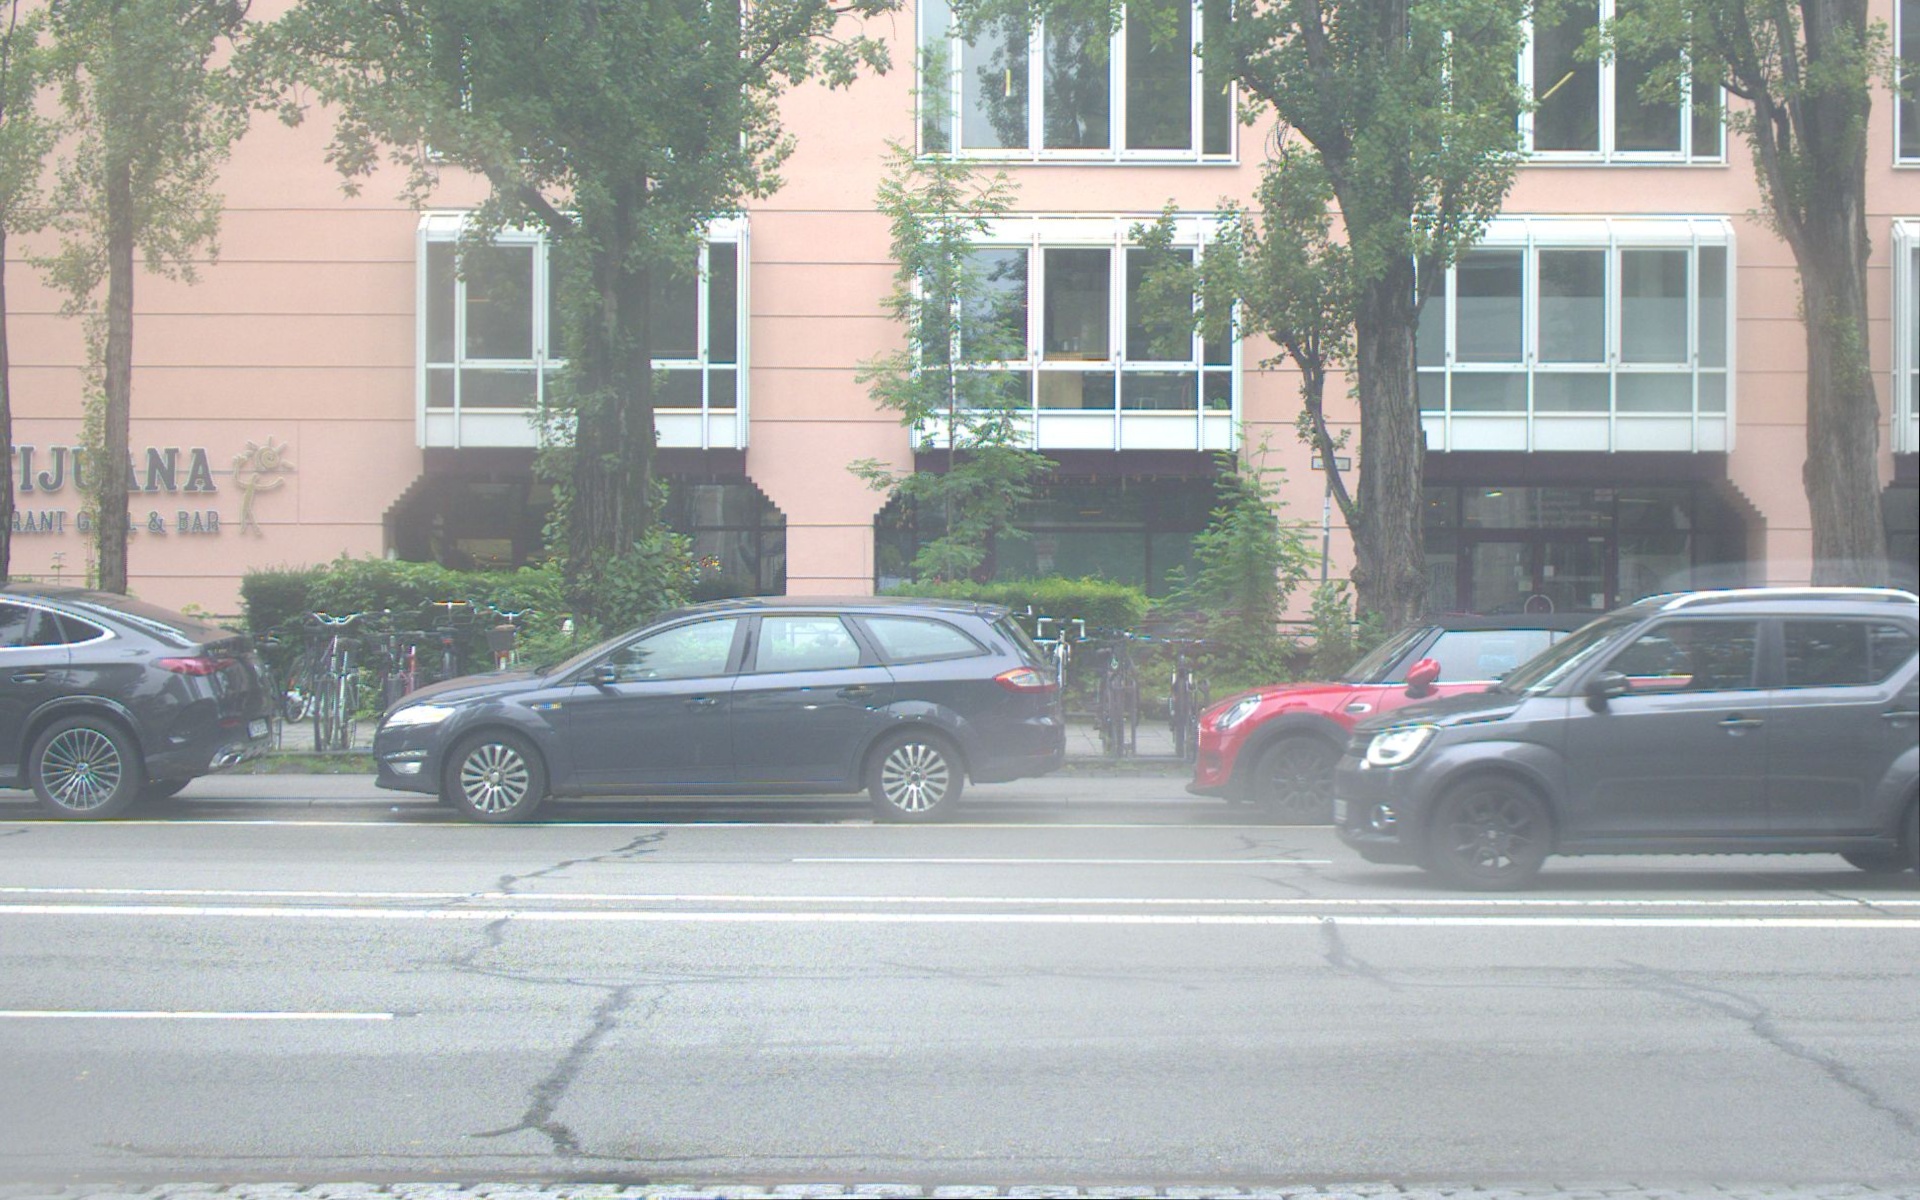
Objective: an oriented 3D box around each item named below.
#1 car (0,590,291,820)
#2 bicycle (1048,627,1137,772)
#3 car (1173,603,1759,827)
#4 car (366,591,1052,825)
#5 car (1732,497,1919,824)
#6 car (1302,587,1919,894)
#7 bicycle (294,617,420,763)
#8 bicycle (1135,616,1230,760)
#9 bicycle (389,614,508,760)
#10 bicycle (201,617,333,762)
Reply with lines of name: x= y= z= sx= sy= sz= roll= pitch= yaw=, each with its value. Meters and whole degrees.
car: x=-7.125 y=0.702 z=24.136 sx=4.499 sy=1.523 sz=1.793 roll=0 pitch=1 yaw=0
bicycle: x=1.078 y=0.802 z=28.285 sx=0.674 sy=1.120 sz=1.742 roll=0 pitch=1 yaw=0
car: x=3.433 y=0.771 z=23.853 sx=3.861 sy=1.444 sz=1.678 roll=0 pitch=1 yaw=3
car: x=-1.693 y=0.726 z=24.049 sx=4.608 sy=1.523 sz=1.793 roll=0 pitch=1 yaw=0
car: x=8.385 y=0.408 z=24.085 sx=5.479 sy=2.189 sz=2.024 roll=0 pitch=1 yaw=0
car: x=3.793 y=0.719 z=18.350 sx=3.740 sy=1.522 sz=1.849 roll=1 pitch=0 yaw=0
bicycle: x=-4.953 y=0.722 z=28.335 sx=0.674 sy=1.120 sz=1.989 roll=0 pitch=1 yaw=0
bicycle: x=1.819 y=0.708 z=28.320 sx=0.674 sy=1.120 sz=1.742 roll=0 pitch=1 yaw=0
bicycle: x=-4.196 y=0.695 z=28.301 sx=0.674 sy=1.120 sz=1.989 roll=0 pitch=1 yaw=0
bicycle: x=-5.700 y=0.718 z=28.359 sx=0.674 sy=1.120 sz=1.989 roll=0 pitch=1 yaw=0
